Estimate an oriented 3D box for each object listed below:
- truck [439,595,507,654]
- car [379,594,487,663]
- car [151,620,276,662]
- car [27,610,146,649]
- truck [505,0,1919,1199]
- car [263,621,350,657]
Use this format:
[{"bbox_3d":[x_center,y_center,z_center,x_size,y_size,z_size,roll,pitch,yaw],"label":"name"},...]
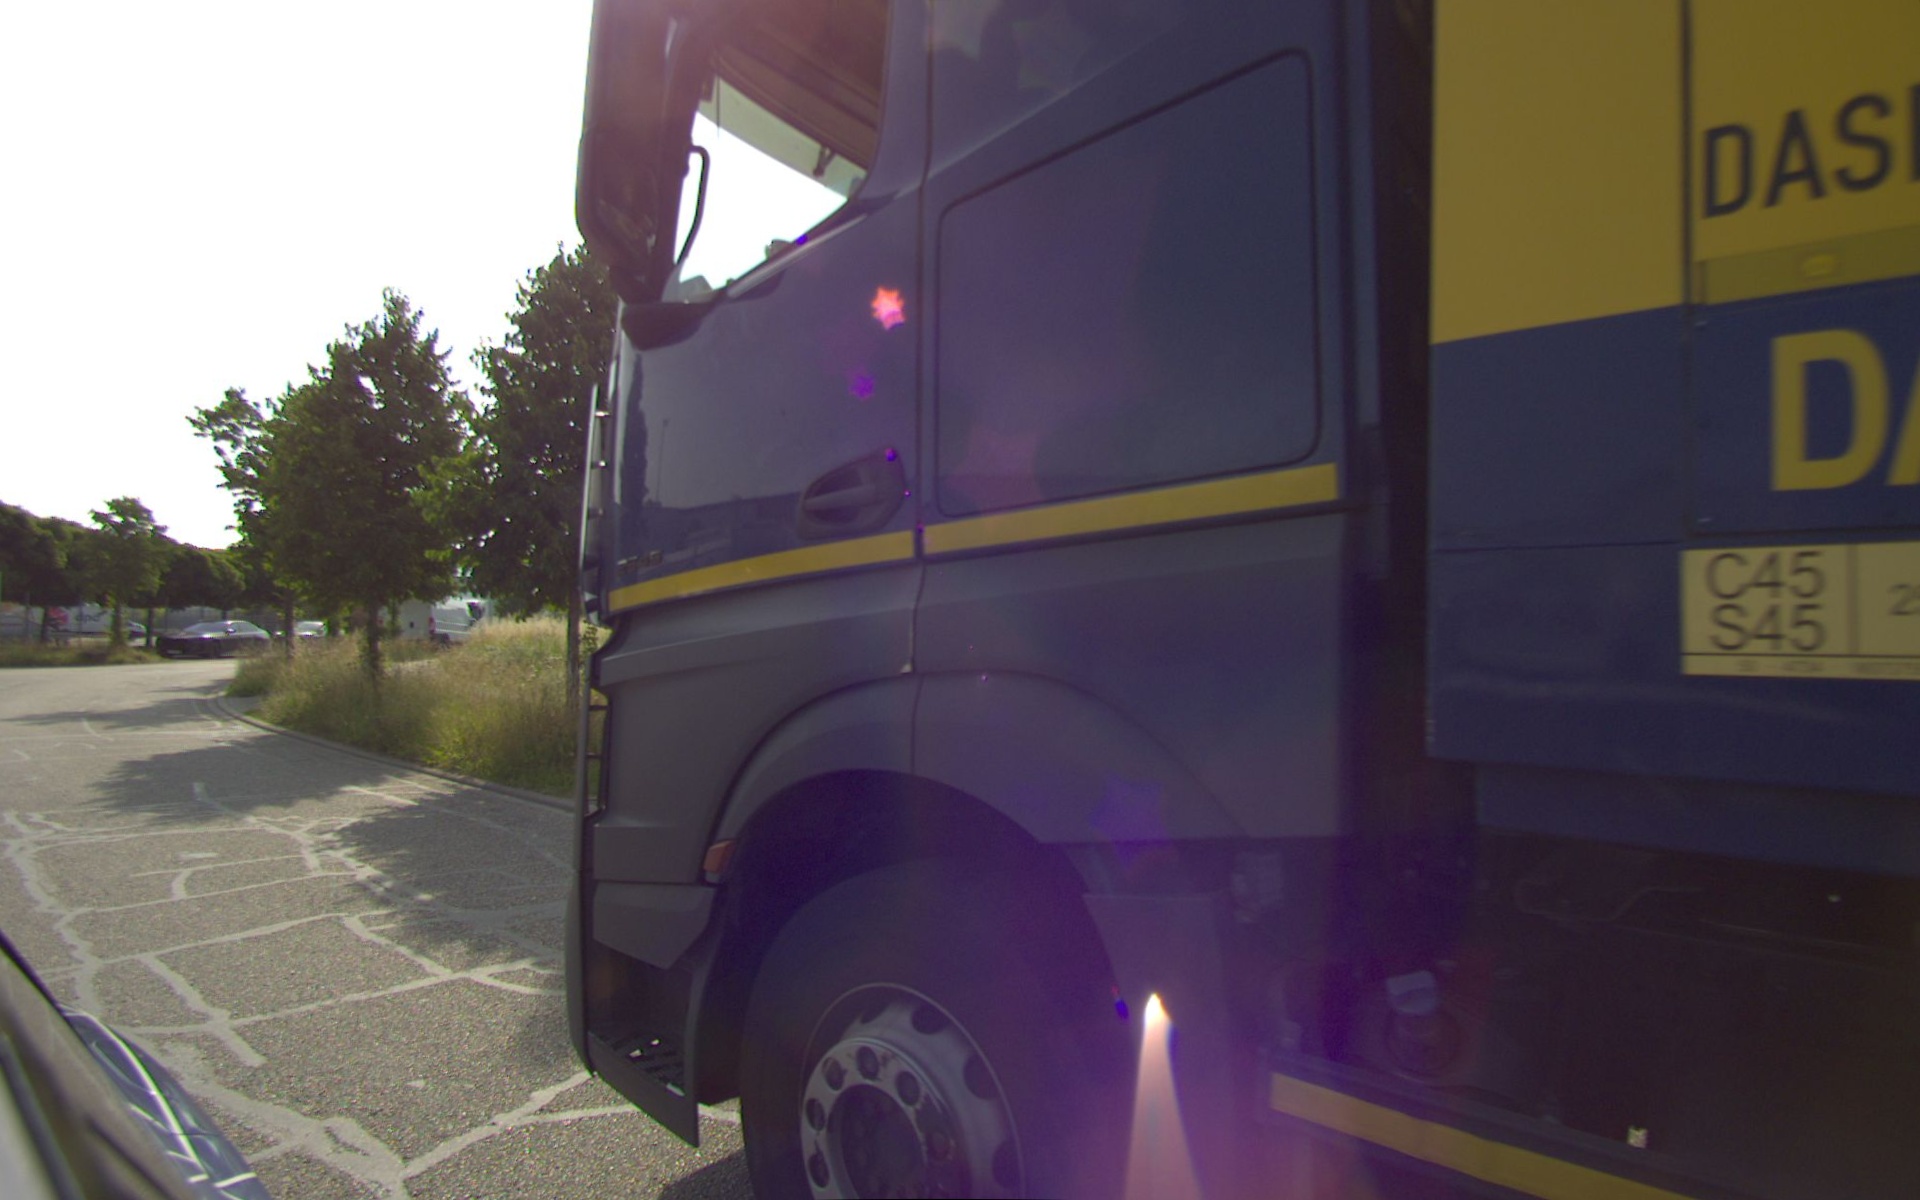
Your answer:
[{"bbox_3d":[-35.181,1.842,73.384,2.657,3.994,6.059,3,-3,-9],"label":"truck"},{"bbox_3d":[-21.609,1.210,41.842,2.075,2.615,6.517,0,-2,-10],"label":"car"},{"bbox_3d":[-30.786,1.675,41.976,1.857,1.586,5.126,2,-2,-7],"label":"car"},{"bbox_3d":[-62.937,2.139,73.009,2.212,2.669,6.187,-2,-3,41],"label":"car"},{"bbox_3d":[3.675,-0.649,0.133,10.371,4.177,2.473,-2,-4,40],"label":"truck"},{"bbox_3d":[-31.445,1.843,48.845,1.857,1.586,4.120,3,-2,-7],"label":"car"}]
